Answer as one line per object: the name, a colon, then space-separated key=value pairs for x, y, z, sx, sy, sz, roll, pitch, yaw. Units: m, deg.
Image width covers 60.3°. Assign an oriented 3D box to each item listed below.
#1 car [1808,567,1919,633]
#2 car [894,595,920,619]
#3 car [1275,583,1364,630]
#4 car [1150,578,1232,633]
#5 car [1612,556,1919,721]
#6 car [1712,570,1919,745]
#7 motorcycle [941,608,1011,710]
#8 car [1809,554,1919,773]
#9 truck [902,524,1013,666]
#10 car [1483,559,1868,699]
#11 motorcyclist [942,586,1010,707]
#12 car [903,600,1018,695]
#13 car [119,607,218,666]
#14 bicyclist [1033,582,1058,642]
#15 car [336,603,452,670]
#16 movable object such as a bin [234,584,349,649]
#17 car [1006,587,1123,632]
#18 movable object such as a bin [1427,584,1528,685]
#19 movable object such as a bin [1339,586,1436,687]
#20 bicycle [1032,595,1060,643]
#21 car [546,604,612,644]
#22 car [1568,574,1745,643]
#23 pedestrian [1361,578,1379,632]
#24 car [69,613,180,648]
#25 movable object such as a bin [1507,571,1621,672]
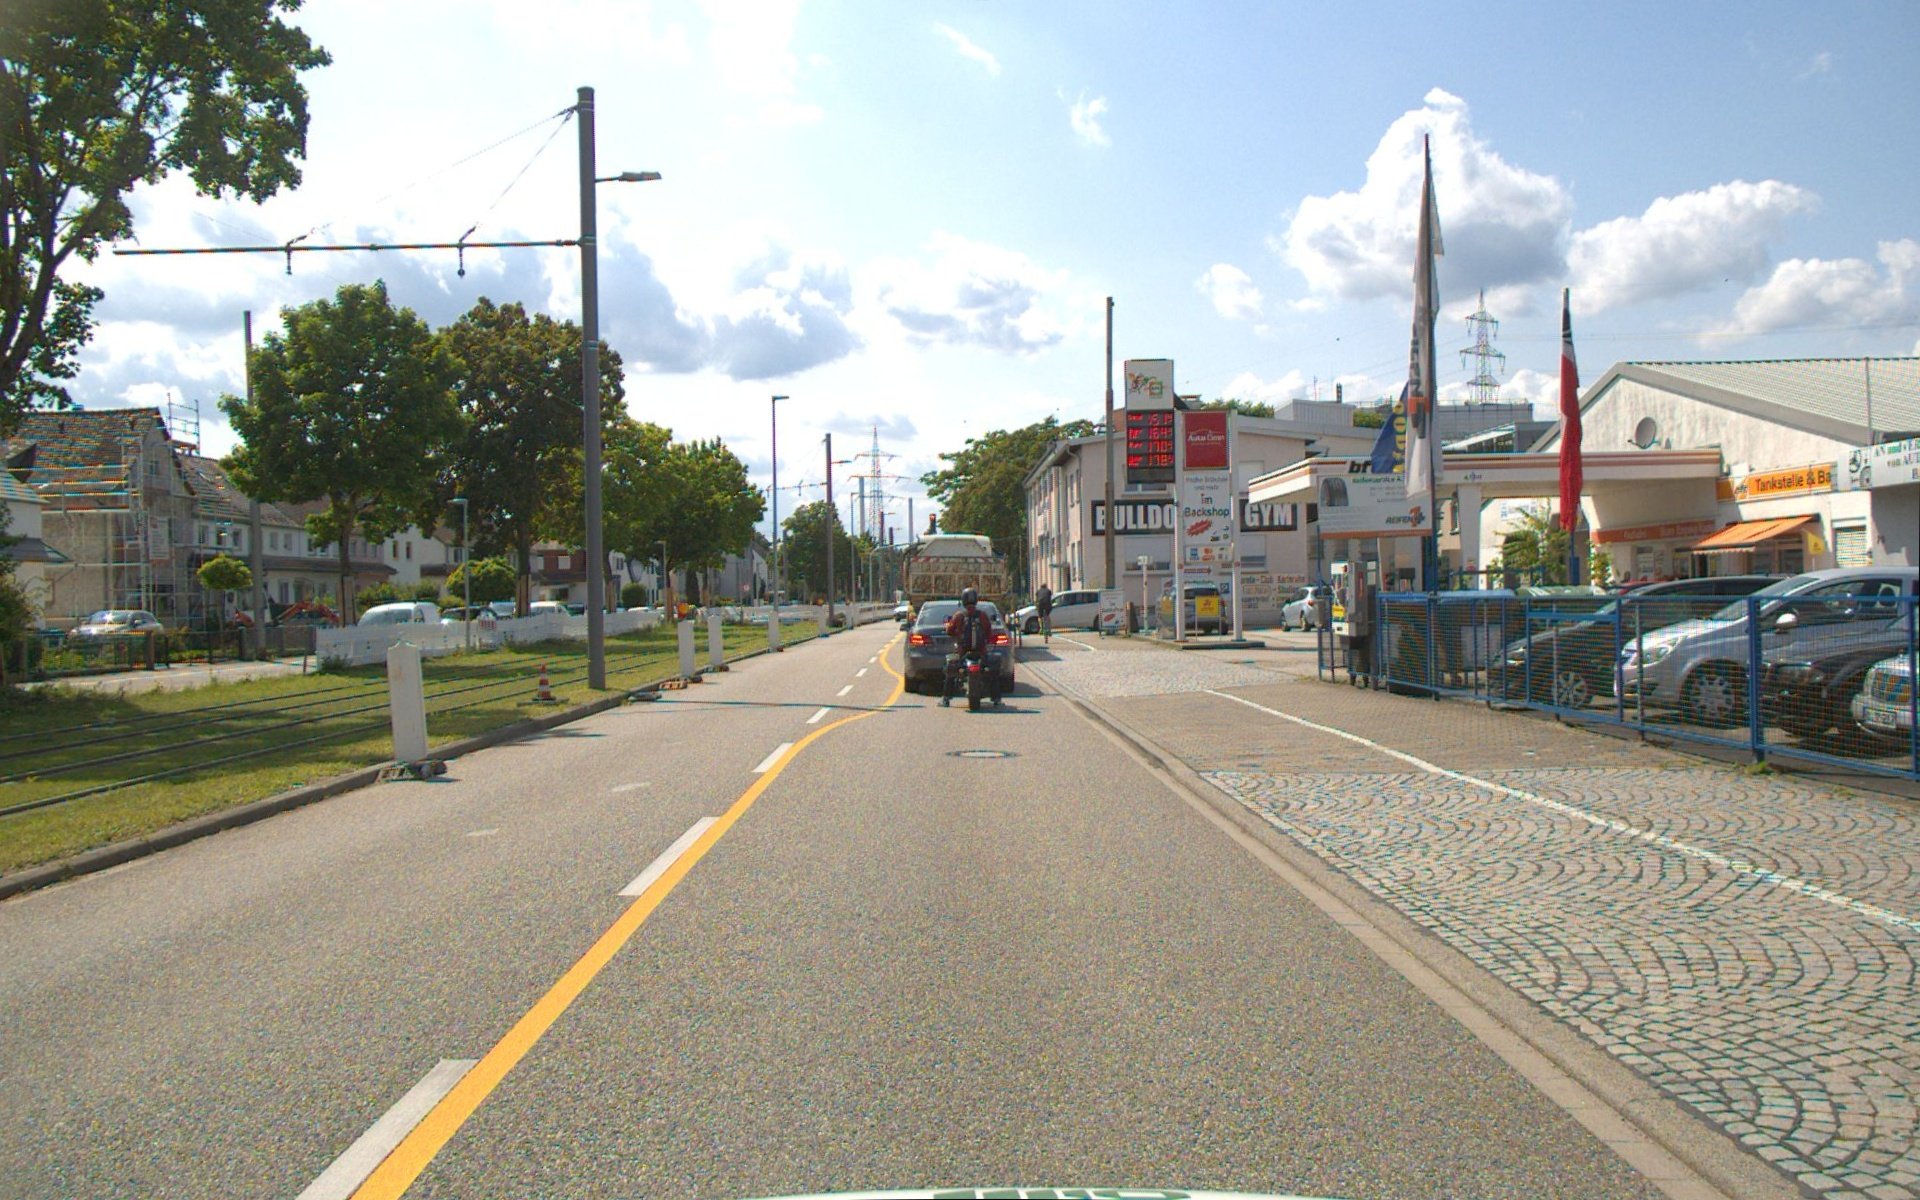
car: x=20.958 y=-0.030 z=36.687 sx=3.425 sy=1.384 sz=1.611 roll=-2 pitch=-1 yaw=-1
car: x=-3.481 y=0.441 z=108.292 sx=1.622 sy=1.472 sz=4.301 roll=-2 pitch=0 yaw=-2
car: x=12.014 y=0.234 z=55.556 sx=1.920 sy=1.445 sz=3.998 roll=-2 pitch=-1 yaw=-3
car: x=7.599 y=0.208 z=54.779 sx=1.920 sy=1.677 sz=3.998 roll=-2 pitch=-1 yaw=-3
car: x=8.723 y=0.360 z=16.498 sx=3.902 sy=1.522 sz=1.752 roll=-2 pitch=0 yaw=15
car: x=8.734 y=0.426 z=14.011 sx=3.902 sy=1.379 sz=1.822 roll=-2 pitch=0 yaw=7
motorcycle: x=0.207 y=0.796 z=23.406 sx=0.920 sy=1.343 sz=2.644 roll=1 pitch=0 yaw=-1
car: x=8.497 y=0.362 z=11.616 sx=4.095 sy=1.456 sz=1.821 roll=-2 pitch=0 yaw=6
truck: x=-0.059 y=-0.210 z=44.217 sx=2.557 sy=3.312 sz=9.182 roll=-2 pitch=1 yaw=0
car: x=8.190 y=0.341 z=19.308 sx=3.903 sy=1.468 sz=1.711 roll=-2 pitch=0 yaw=17
motorcyclist: x=0.213 y=0.639 z=23.227 sx=0.920 sy=1.643 sz=1.204 roll=1 pitch=0 yaw=-1
car: x=-0.009 y=0.741 z=27.878 sx=1.784 sy=1.449 sz=3.999 roll=-1 pitch=0 yaw=-1
car: x=-25.243 y=1.143 z=52.847 sx=1.650 sy=1.752 sz=3.029 roll=-2 pitch=-1 yaw=-1
bicyclist: x=2.561 y=0.352 z=49.498 sx=0.657 sy=1.774 sz=0.813 roll=-1 pitch=0 yaw=-1
car: x=-16.342 y=1.035 z=47.952 sx=1.953 sy=1.780 sz=3.999 roll=-2 pitch=-1 yaw=-1
movable object such as a bin: x=-27.521 y=0.658 z=68.183 sx=4.277 sy=2.492 sz=1.776 roll=-2 pitch=0 yaw=-23
car: x=4.111 y=0.374 z=65.352 sx=4.250 sy=1.579 sz=1.946 roll=-2 pitch=-1 yaw=-9
movable object such as a bin: x=7.904 y=0.528 z=25.309 sx=1.230 sy=1.469 sz=0.824 roll=-2 pitch=-1 yaw=0
movable object such as a bin: x=6.554 y=0.555 z=25.400 sx=1.230 sy=1.469 sz=0.824 roll=-2 pitch=-1 yaw=0
bicycle: x=2.580 y=0.547 z=49.750 sx=0.678 sy=1.385 sz=2.418 roll=-2 pitch=0 yaw=0
car: x=-16.792 y=1.067 z=73.101 sx=1.953 sy=1.634 sz=3.999 roll=-2 pitch=-1 yaw=-1
car: x=15.616 y=0.195 z=37.184 sx=3.253 sy=1.384 sz=1.611 roll=-2 pitch=-1 yaw=-1
pedestrian: x=13.338 y=0.168 z=53.831 sx=0.388 sy=1.718 sz=0.485 roll=-2 pitch=-1 yaw=0
car: x=-28.260 y=1.007 z=56.079 sx=1.650 sy=1.071 sz=3.980 roll=-2 pitch=-1 yaw=1
movable object such as a bin: x=9.209 y=0.328 z=25.262 sx=1.295 sy=1.469 sz=0.953 roll=-2 pitch=-1 yaw=-8
